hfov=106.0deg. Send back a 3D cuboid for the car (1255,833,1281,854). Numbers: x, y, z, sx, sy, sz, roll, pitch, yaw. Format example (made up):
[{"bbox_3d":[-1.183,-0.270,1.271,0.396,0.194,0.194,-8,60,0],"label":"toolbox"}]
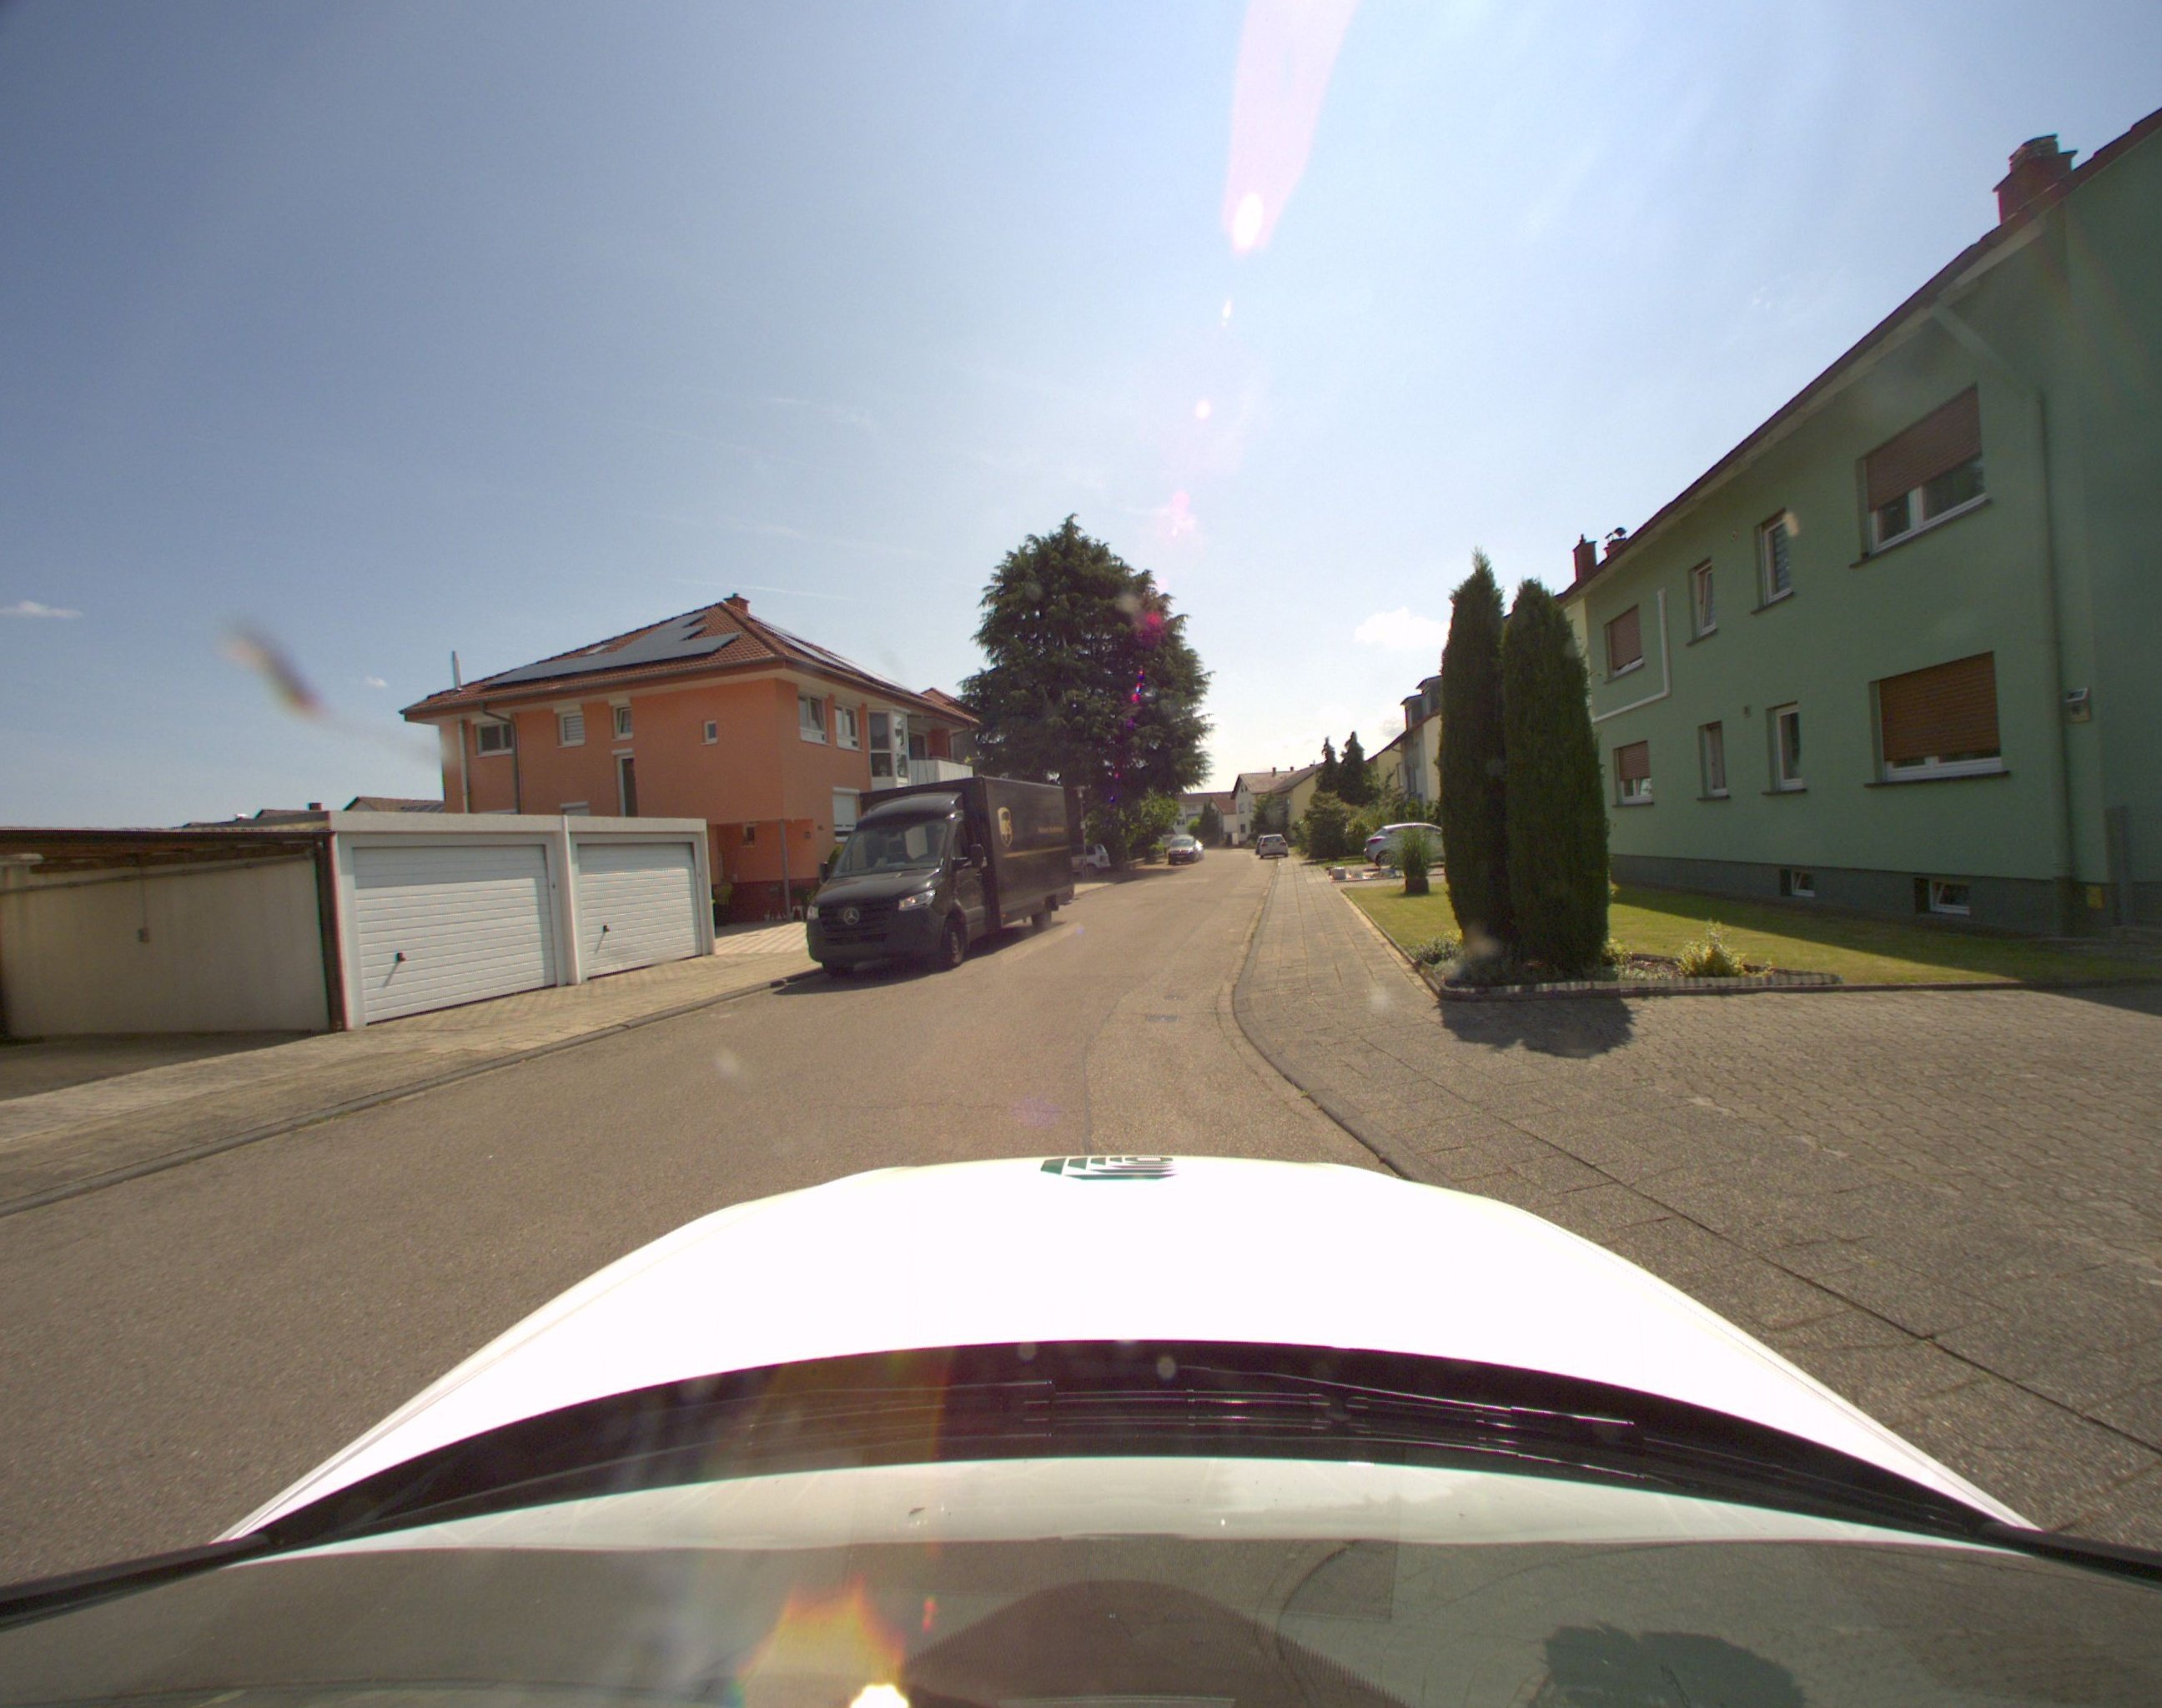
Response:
[{"bbox_3d":[14.933,-0.858,65.253,1.796,1.495,4.013,-4,1,12],"label":"car"}]

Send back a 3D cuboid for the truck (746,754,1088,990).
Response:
[{"bbox_3d":[-2.154,0.168,14.038,2.415,2.787,7.329,-7,0,16],"label":"truck"}]

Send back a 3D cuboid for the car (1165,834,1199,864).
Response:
[{"bbox_3d":[6.682,-0.339,53.527,1.796,1.762,4.220,-4,1,12],"label":"car"}]

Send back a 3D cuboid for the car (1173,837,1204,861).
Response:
[{"bbox_3d":[7.862,-0.387,59.301,1.796,1.495,4.013,-4,1,12],"label":"car"}]

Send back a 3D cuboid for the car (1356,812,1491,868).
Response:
[{"bbox_3d":[11.410,-0.469,27.385,3.885,1.509,1.781,-5,0,15],"label":"car"}]

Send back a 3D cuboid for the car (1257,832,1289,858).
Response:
[{"bbox_3d":[12.365,-0.626,52.639,1.796,1.495,4.013,-4,1,12],"label":"car"}]

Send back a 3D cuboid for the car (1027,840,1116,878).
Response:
[{"bbox_3d":[-0.488,0.262,42.533,4.160,1.653,1.822,-4,1,16],"label":"car"}]
